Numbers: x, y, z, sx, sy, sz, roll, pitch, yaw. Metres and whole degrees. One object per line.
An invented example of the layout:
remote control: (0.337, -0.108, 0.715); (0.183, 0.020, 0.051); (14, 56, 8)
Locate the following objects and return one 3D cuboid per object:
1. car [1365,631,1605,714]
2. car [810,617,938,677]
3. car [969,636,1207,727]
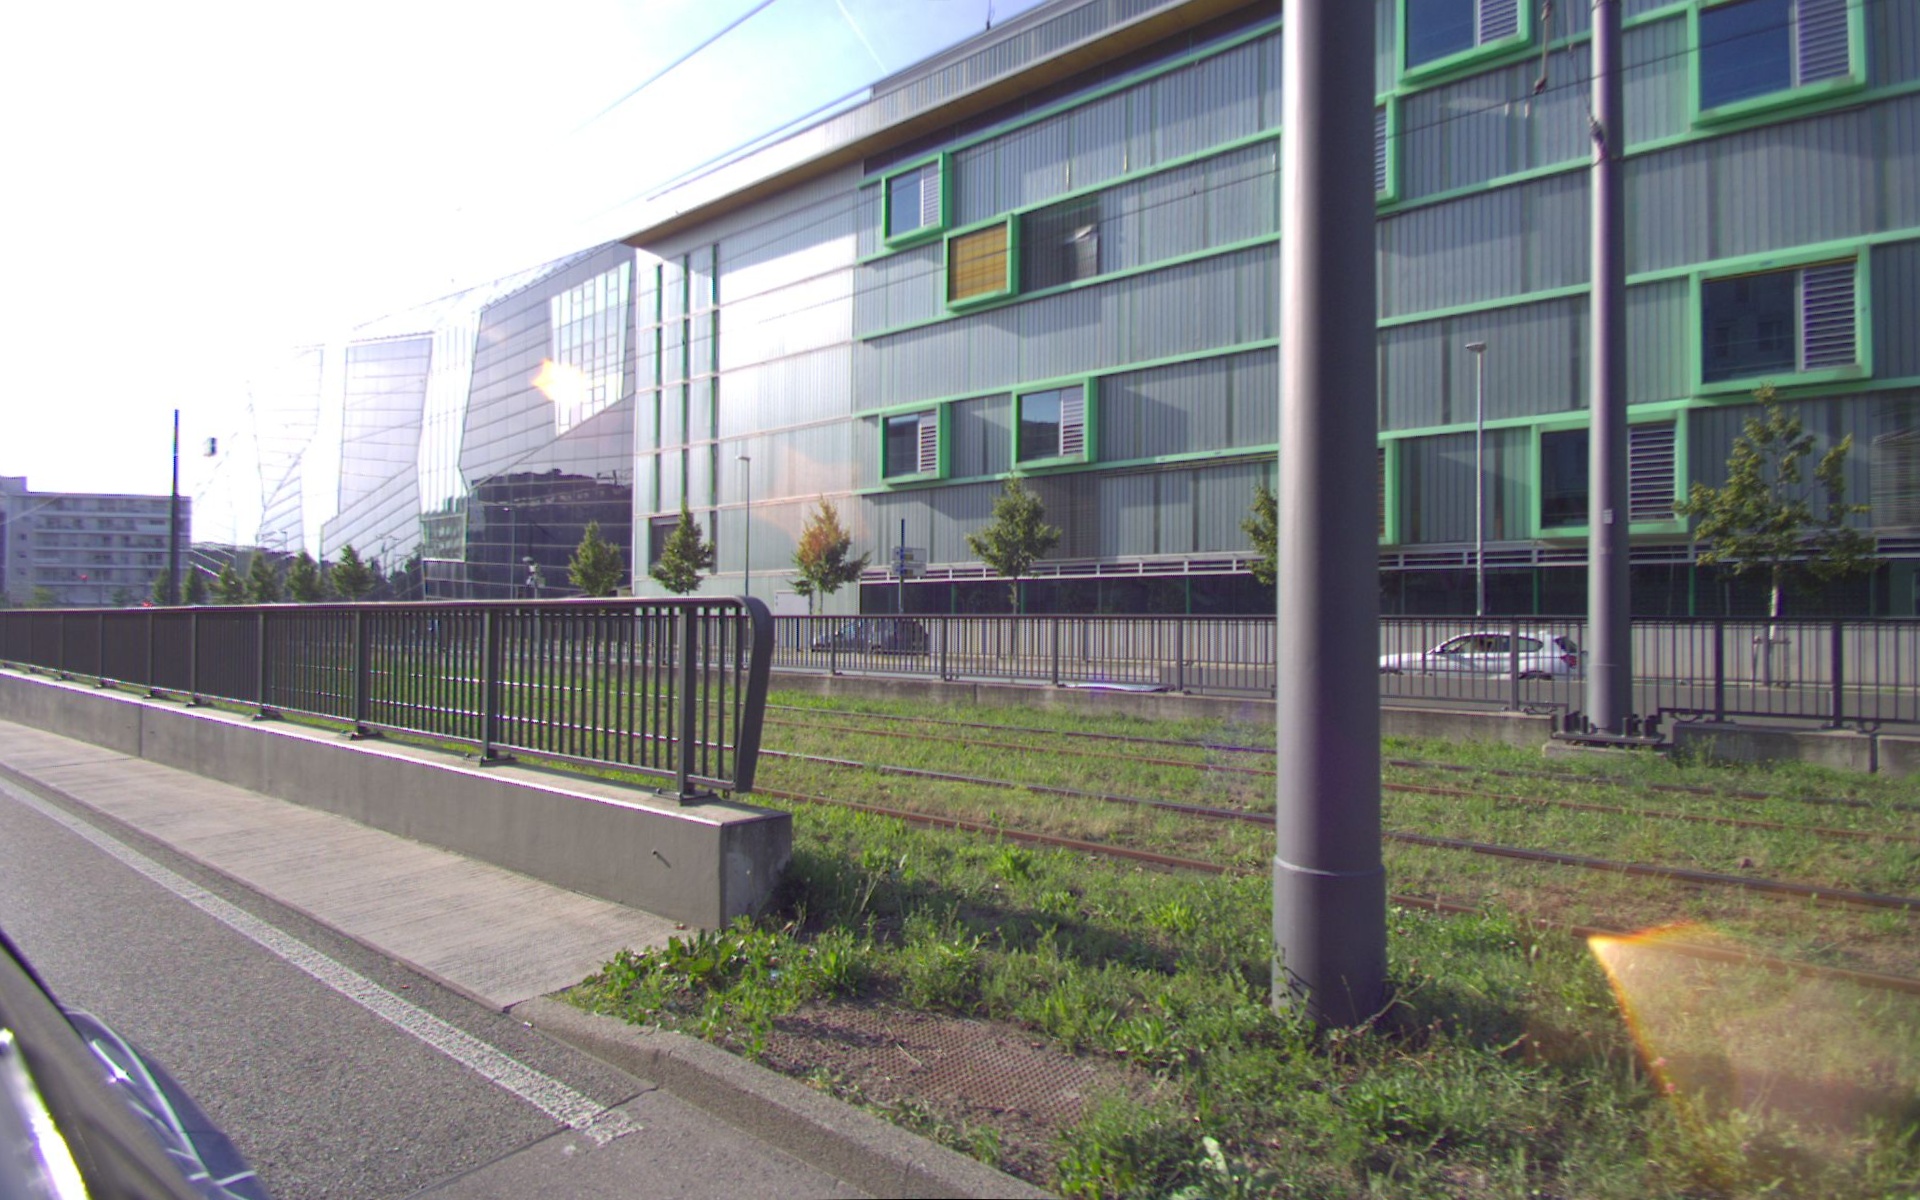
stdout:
car: (10.533, 1.378, 20.436); (4.024, 1.498, 1.752); (-1, -2, 40)
car: (-2.724, 1.448, 31.697); (3.931, 1.762, 1.724); (-1, -2, 40)
car: (2.227, 1.372, 18.152); (3.995, 1.433, 1.644); (-1, -2, 39)
